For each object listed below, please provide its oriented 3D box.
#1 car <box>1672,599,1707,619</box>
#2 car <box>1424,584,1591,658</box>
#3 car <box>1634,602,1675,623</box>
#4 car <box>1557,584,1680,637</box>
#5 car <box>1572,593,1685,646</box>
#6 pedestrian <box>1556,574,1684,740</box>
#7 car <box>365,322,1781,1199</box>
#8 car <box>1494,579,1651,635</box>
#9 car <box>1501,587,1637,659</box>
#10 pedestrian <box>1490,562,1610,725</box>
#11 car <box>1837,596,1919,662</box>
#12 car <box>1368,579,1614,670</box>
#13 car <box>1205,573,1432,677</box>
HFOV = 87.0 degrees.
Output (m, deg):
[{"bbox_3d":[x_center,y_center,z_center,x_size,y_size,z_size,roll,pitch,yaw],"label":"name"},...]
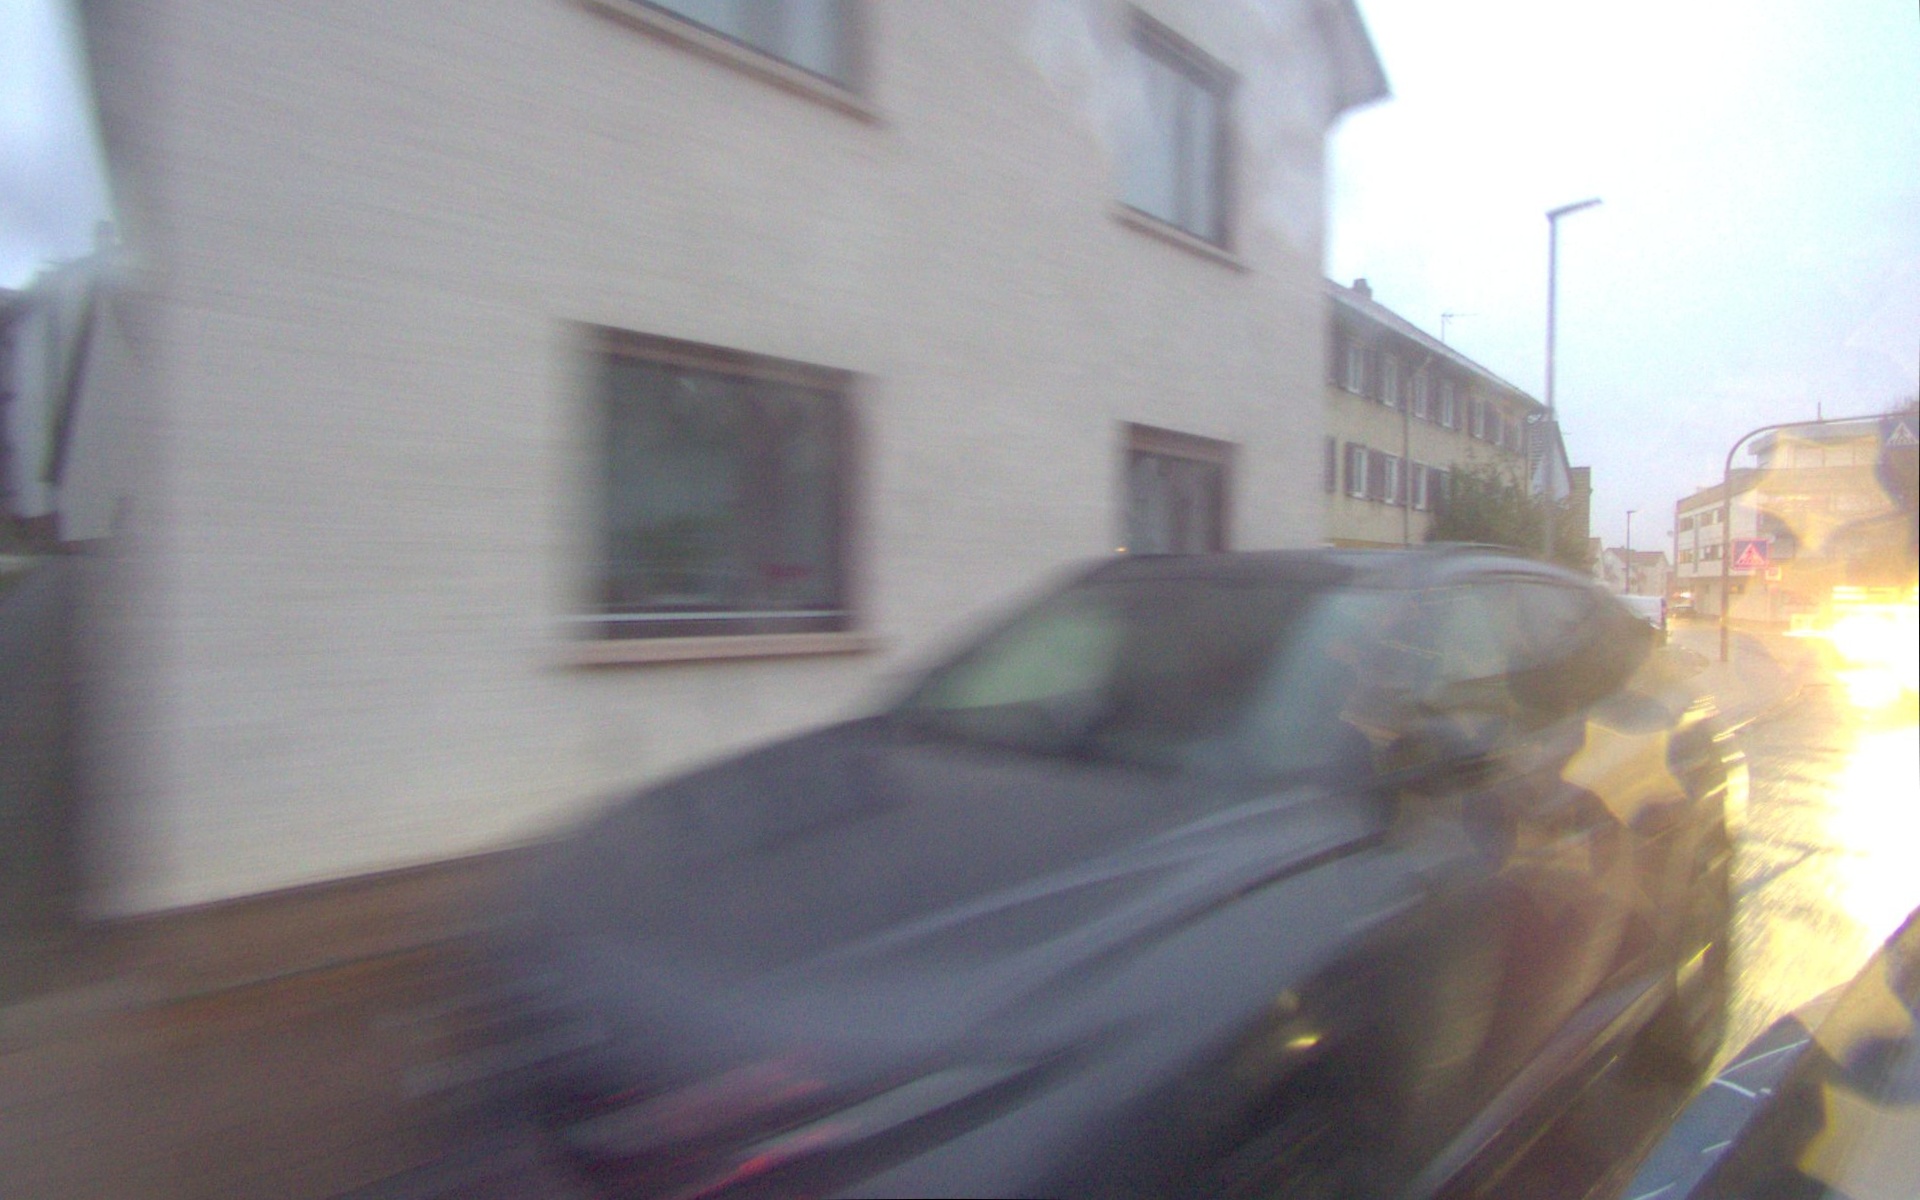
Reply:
[{"bbox_3d":[60.808,0.770,84.381,1.884,1.637,3.788,0,0,28],"label":"car"},{"bbox_3d":[12.547,0.432,23.270,3.065,1.492,1.525,3,2,44],"label":"car"},{"bbox_3d":[51.069,0.897,74.444,1.883,1.485,3.963,0,0,26],"label":"car"},{"bbox_3d":[26.589,0.378,40.906,4.032,1.866,1.839,3,2,36],"label":"car"},{"bbox_3d":[20.879,0.569,31.657,2.762,1.492,1.405,3,2,41],"label":"car"},{"bbox_3d":[7.266,0.589,11.148,0.975,1.687,0.869,1,3,-42],"label":"pedestrian"},{"bbox_3d":[0.853,0.581,3.016,4.261,1.658,1.850,0,0,-42],"label":"car"},{"bbox_3d":[23.897,0.239,39.609,4.977,1.912,1.908,4,1,41],"label":"car"},{"bbox_3d":[14.855,0.524,24.712,2.581,1.566,1.528,3,1,41],"label":"car"},{"bbox_3d":[6.825,0.476,11.709,0.955,1.754,0.850,1,3,-42],"label":"pedestrian"},{"bbox_3d":[24.883,0.718,26.817,1.910,1.638,3.823,-1,-1,32],"label":"car"},{"bbox_3d":[10.269,0.410,19.736,3.901,1.492,1.723,3,2,44],"label":"car"},{"bbox_3d":[5.956,0.349,16.985,3.217,1.492,1.562,3,2,44],"label":"car"}]
